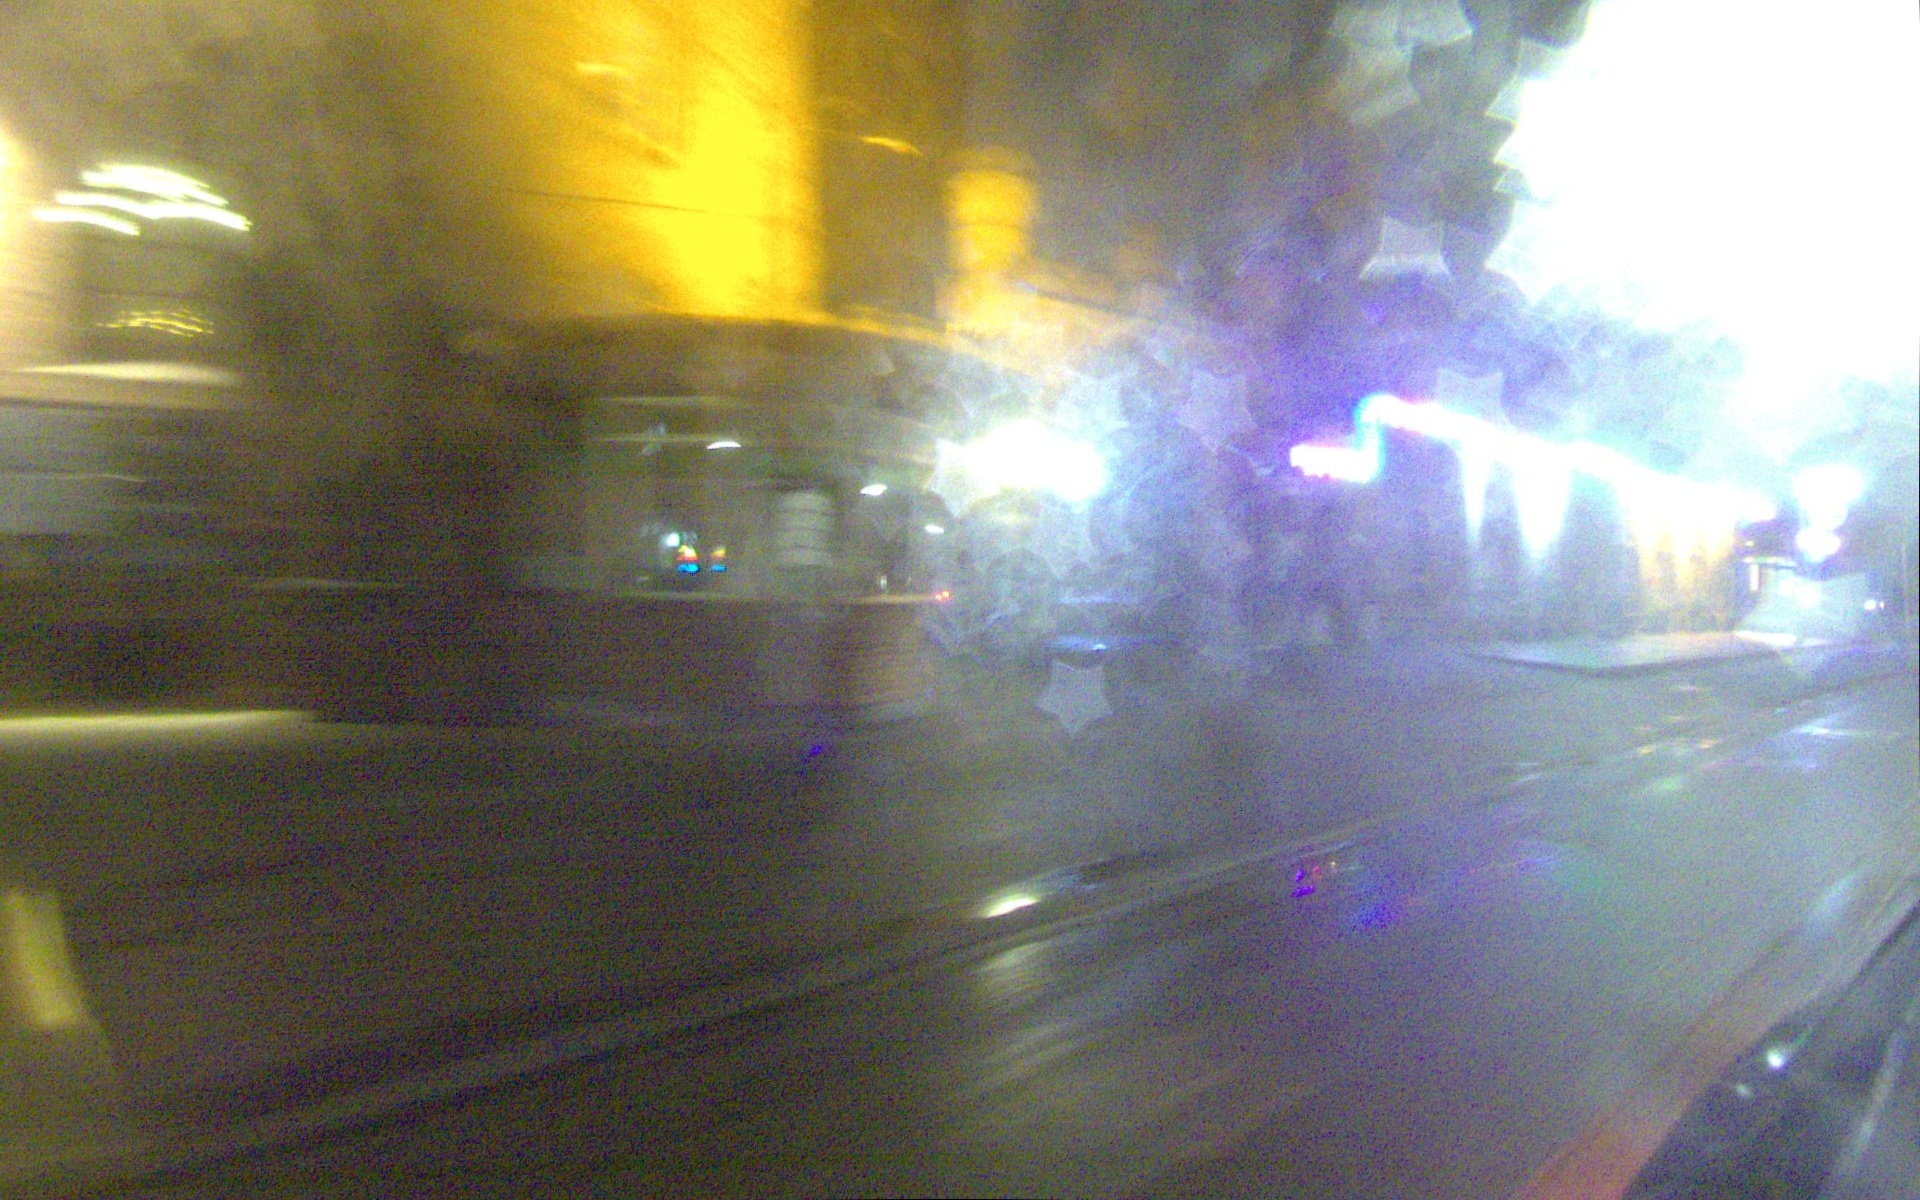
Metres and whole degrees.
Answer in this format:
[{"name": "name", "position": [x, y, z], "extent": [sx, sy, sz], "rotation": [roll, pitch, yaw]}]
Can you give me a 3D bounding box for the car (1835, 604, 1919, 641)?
[{"name": "car", "position": [42.153, 0.994, 45.324], "extent": [4.063, 1.556, 1.944], "rotation": [1, 1, 25]}]
